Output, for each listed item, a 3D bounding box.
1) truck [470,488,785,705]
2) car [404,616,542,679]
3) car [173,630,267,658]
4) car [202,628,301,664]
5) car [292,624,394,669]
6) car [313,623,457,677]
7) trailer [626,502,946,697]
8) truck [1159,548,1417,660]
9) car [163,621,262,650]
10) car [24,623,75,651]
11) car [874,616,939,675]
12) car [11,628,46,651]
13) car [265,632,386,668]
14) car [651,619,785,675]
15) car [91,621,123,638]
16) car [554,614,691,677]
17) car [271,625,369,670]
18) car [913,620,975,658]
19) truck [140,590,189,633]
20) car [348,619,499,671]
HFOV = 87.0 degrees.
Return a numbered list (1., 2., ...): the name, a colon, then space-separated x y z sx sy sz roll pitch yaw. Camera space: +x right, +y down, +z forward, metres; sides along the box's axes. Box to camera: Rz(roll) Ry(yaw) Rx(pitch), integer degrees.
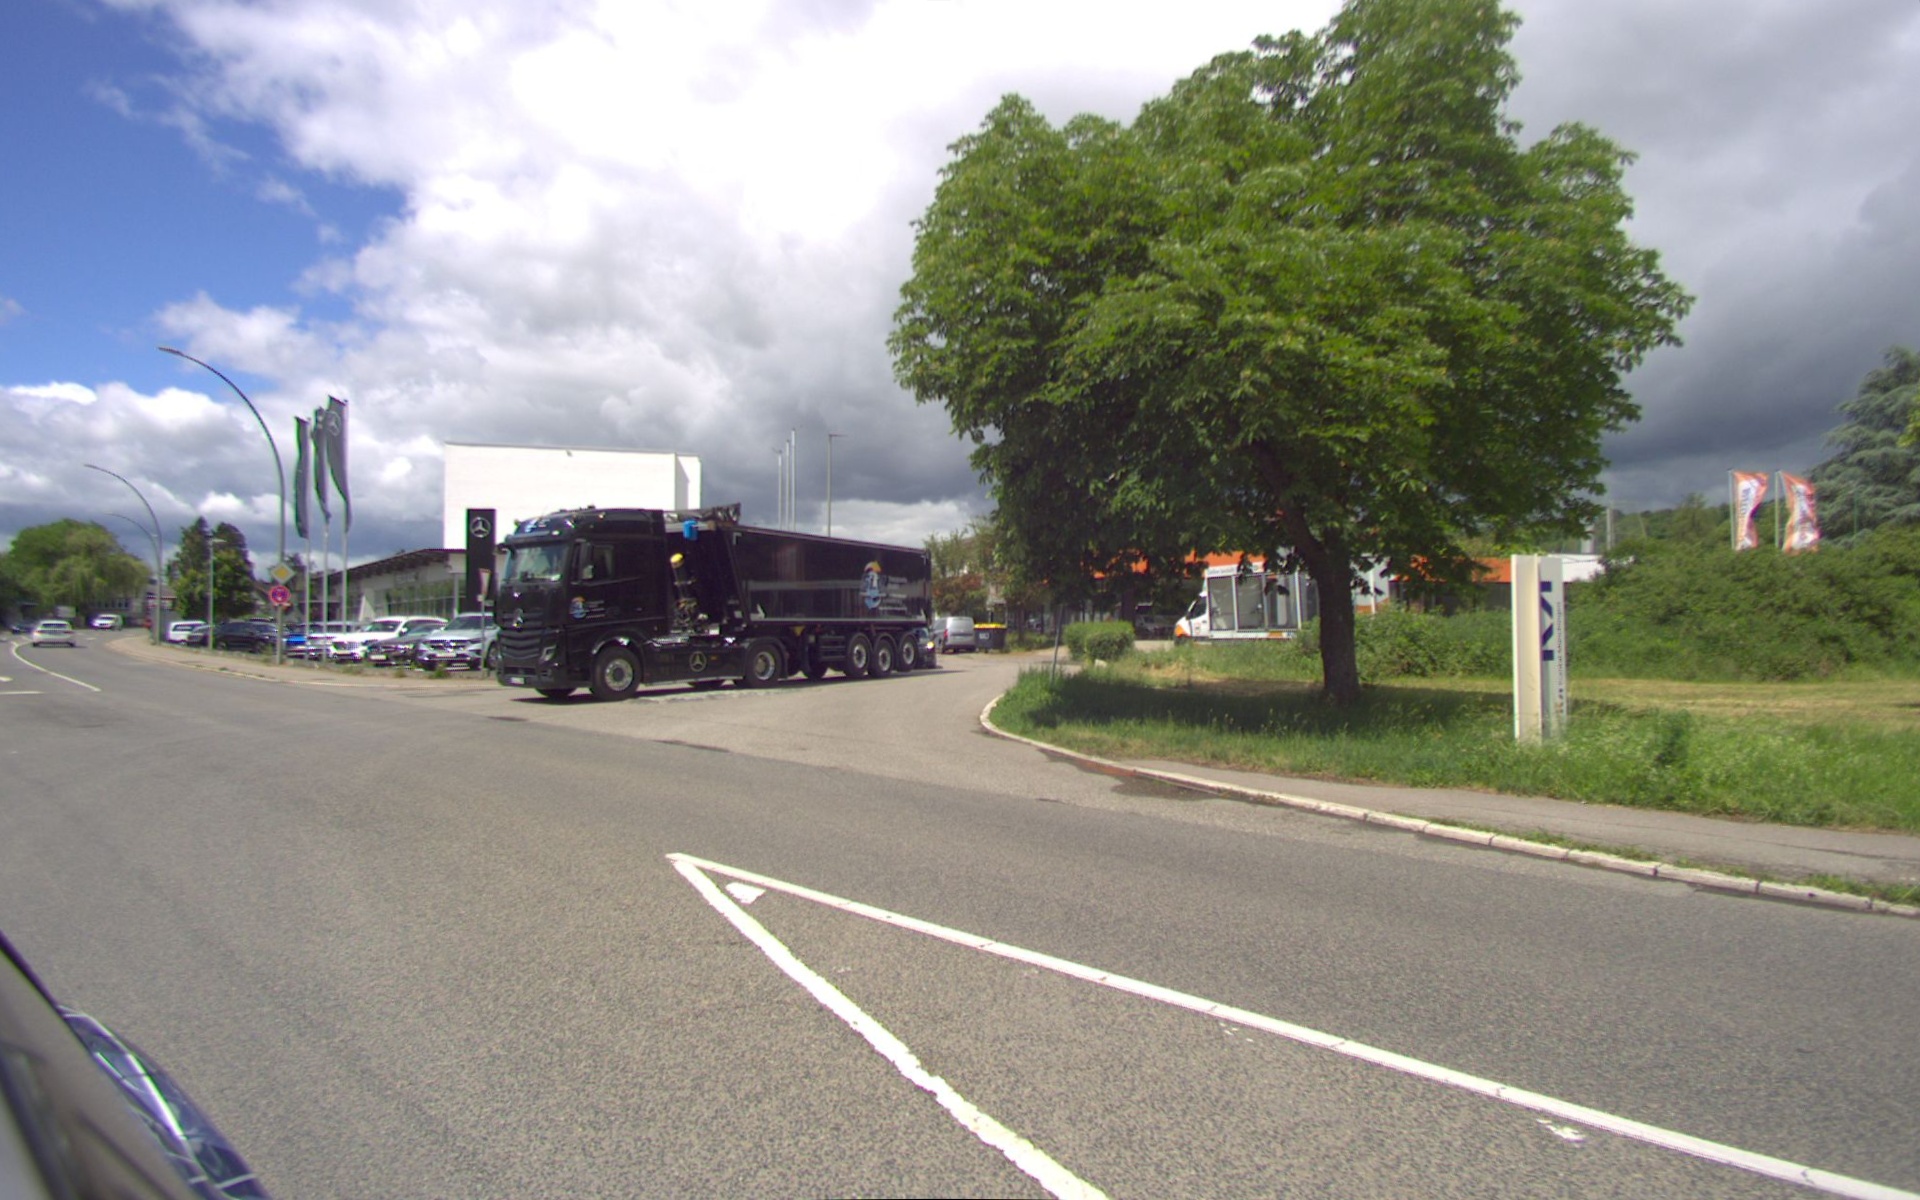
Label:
1. truck: -6.727 0.027 21.103 2.980 3.853 5.502 -1 -2 37
2. car: -13.890 1.311 29.202 1.959 1.617 4.746 -1 -1 -3
3. car: -41.651 2.478 57.006 3.894 1.506 1.806 1 -2 -5
4. car: -35.076 2.277 50.111 4.316 1.637 1.794 -2 1 18
5. car: -23.768 1.771 39.172 1.843 1.578 4.530 -1 -2 -10
6. car: -19.399 1.642 34.358 1.917 1.690 4.283 -1 -2 12
7. trailer: -3.966 0.131 26.302 3.302 4.114 9.382 -1 -2 26
8. truck: 10.041 0.259 32.342 2.618 3.073 8.618 1 -2 -25
9. car: -49.185 2.356 66.698 4.880 1.852 1.896 1 -2 -8
10. car: -50.455 2.026 56.071 1.970 1.461 4.431 4 -4 -43
11. car: -1.901 1.529 34.655 1.927 1.890 4.124 0 -2 -7
12. car: -82.910 3.526 90.090 1.924 2.029 4.008 2 -3 -38
13. car: -29.447 2.321 47.046 4.538 1.400 1.802 -2 1 4
14. car: -7.642 1.462 31.687 4.765 1.614 1.778 -2 -4 43
15. car: -99.318 3.443 117.831 1.922 2.029 4.013 1 -2 -27
16. car: -10.004 1.302 29.806 4.601 1.734 1.909 -2 -2 44
17. car: -26.459 1.922 42.014 1.863 1.681 4.580 -1 -1 -10
18. car: -0.898 1.958 51.516 1.802 1.860 4.689 1 -2 -19
19. truck: -89.931 1.369 114.500 2.932 4.697 8.204 1 -2 -29
20. car: -16.768 1.396 31.910 1.780 1.477 4.308 -3 -2 14
